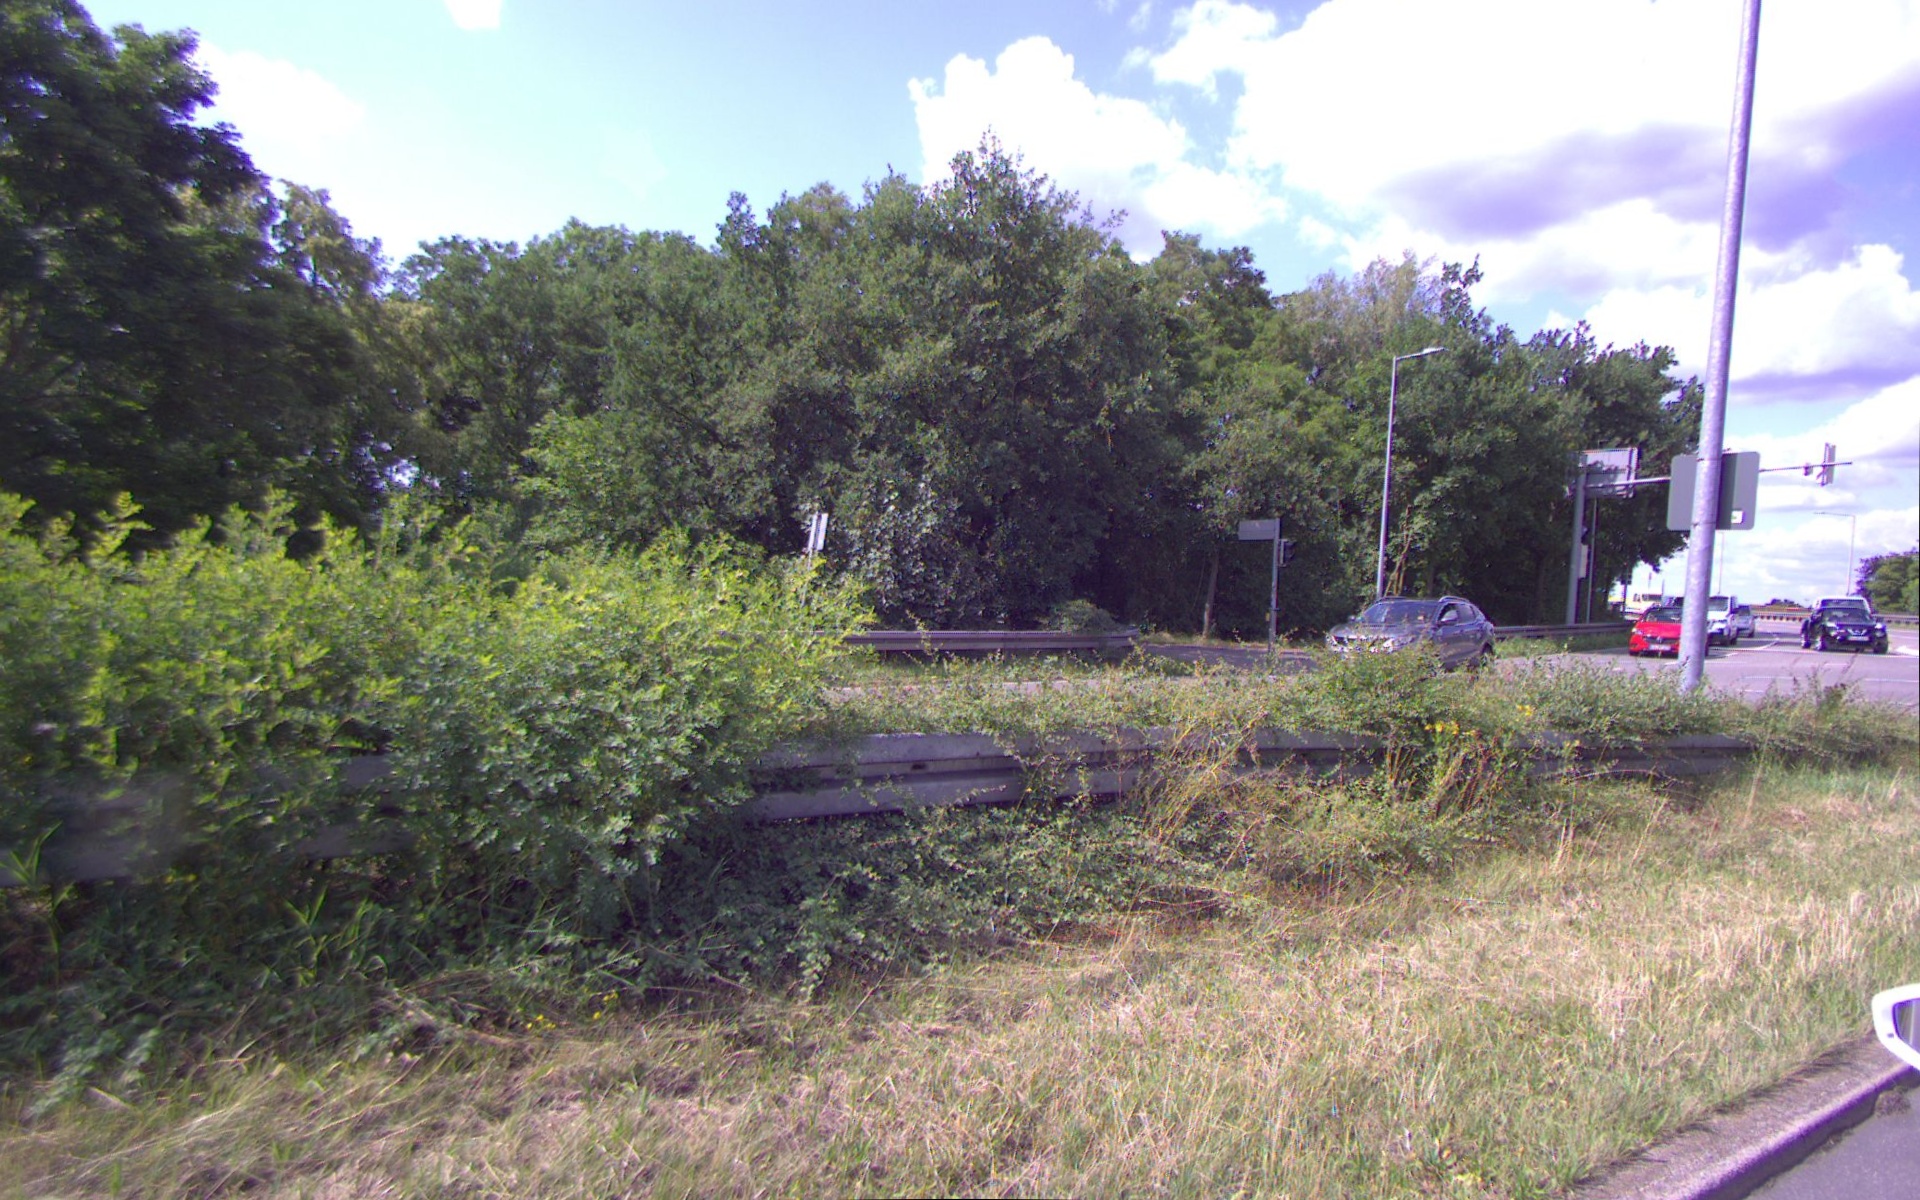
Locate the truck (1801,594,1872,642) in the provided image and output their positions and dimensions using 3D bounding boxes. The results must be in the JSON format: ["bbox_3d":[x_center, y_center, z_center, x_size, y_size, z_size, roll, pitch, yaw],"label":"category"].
[{"bbox_3d":[38.730,0.747,44.500,1.935,1.939,5.349,2,1,37],"label":"truck"}]

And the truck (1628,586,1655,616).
[{"bbox_3d":[62.973,0.062,92.755,1.967,2.656,6.083,0,0,35],"label":"truck"}]

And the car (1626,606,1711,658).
[{"bbox_3d":[21.493,0.944,30.413,1.564,1.451,3.976,1,0,43],"label":"car"}]

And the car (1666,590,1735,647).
[{"bbox_3d":[28.471,0.699,38.532,1.969,2.040,5.114,0,-1,38],"label":"car"}]

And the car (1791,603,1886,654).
[{"bbox_3d":[30.535,0.937,35.026,1.673,1.578,3.815,2,1,29],"label":"car"}]

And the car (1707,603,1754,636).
[{"bbox_3d":[36.929,0.911,48.159,1.711,1.541,4.052,0,-1,38],"label":"car"}]

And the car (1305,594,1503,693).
[{"bbox_3d":[8.183,0.736,18.348,4.249,1.607,1.695,1,-1,-41],"label":"car"}]
